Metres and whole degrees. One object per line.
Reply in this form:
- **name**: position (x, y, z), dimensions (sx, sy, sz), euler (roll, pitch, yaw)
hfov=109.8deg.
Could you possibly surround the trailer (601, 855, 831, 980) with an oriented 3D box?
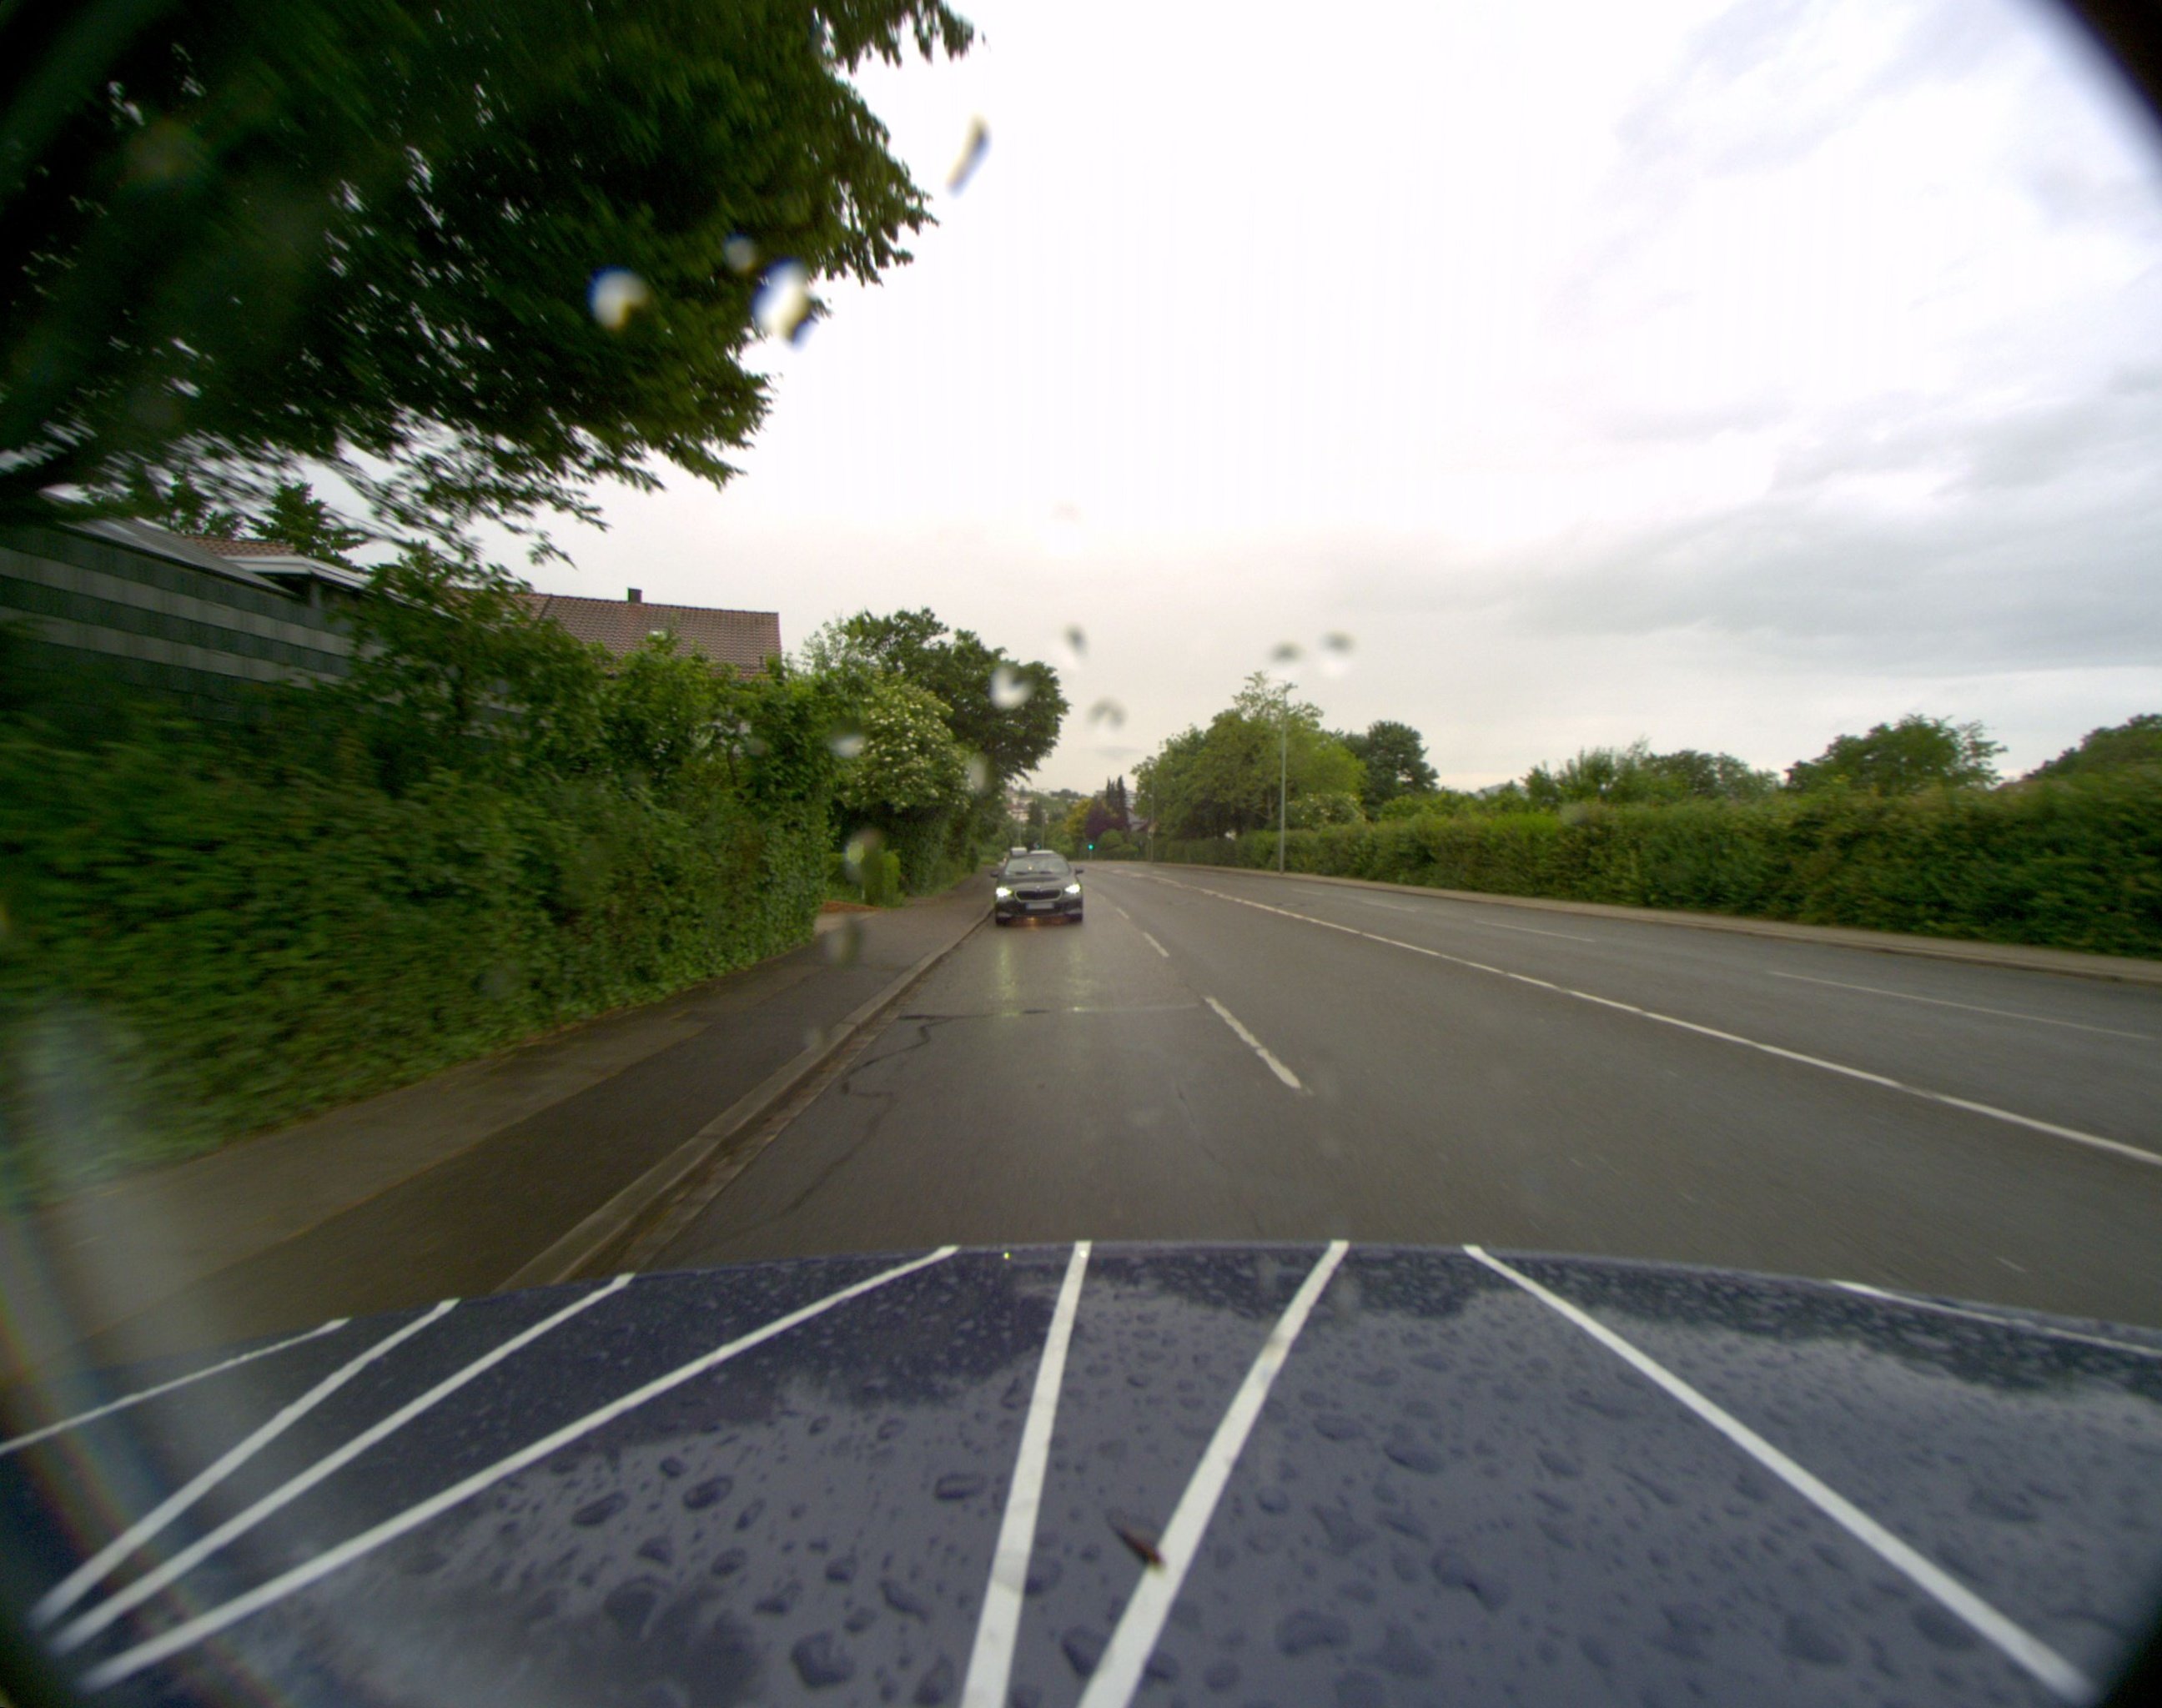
- **trailer**: position (-6.061, 1.009, 12.883), dimensions (2.988, 1.561, 1.488), euler (-8, 2, -2)

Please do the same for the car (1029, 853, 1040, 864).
- **car**: position (-7.539, 0.713, 123.464), dimensions (1.551, 1.812, 4.280), euler (0, 1, -6)

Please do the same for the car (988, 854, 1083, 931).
- **car**: position (-0.996, 0.774, 17.556), dimensions (1.846, 1.371, 4.281), euler (-3, 1, -2)

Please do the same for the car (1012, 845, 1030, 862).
- **car**: position (-6.054, -0.059, 76.711), dimensions (1.704, 1.670, 4.280), euler (0, 0, -6)

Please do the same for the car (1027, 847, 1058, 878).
- **car**: position (-2.045, 0.398, 39.903), dimensions (1.551, 1.505, 4.281), euler (0, 1, -4)
